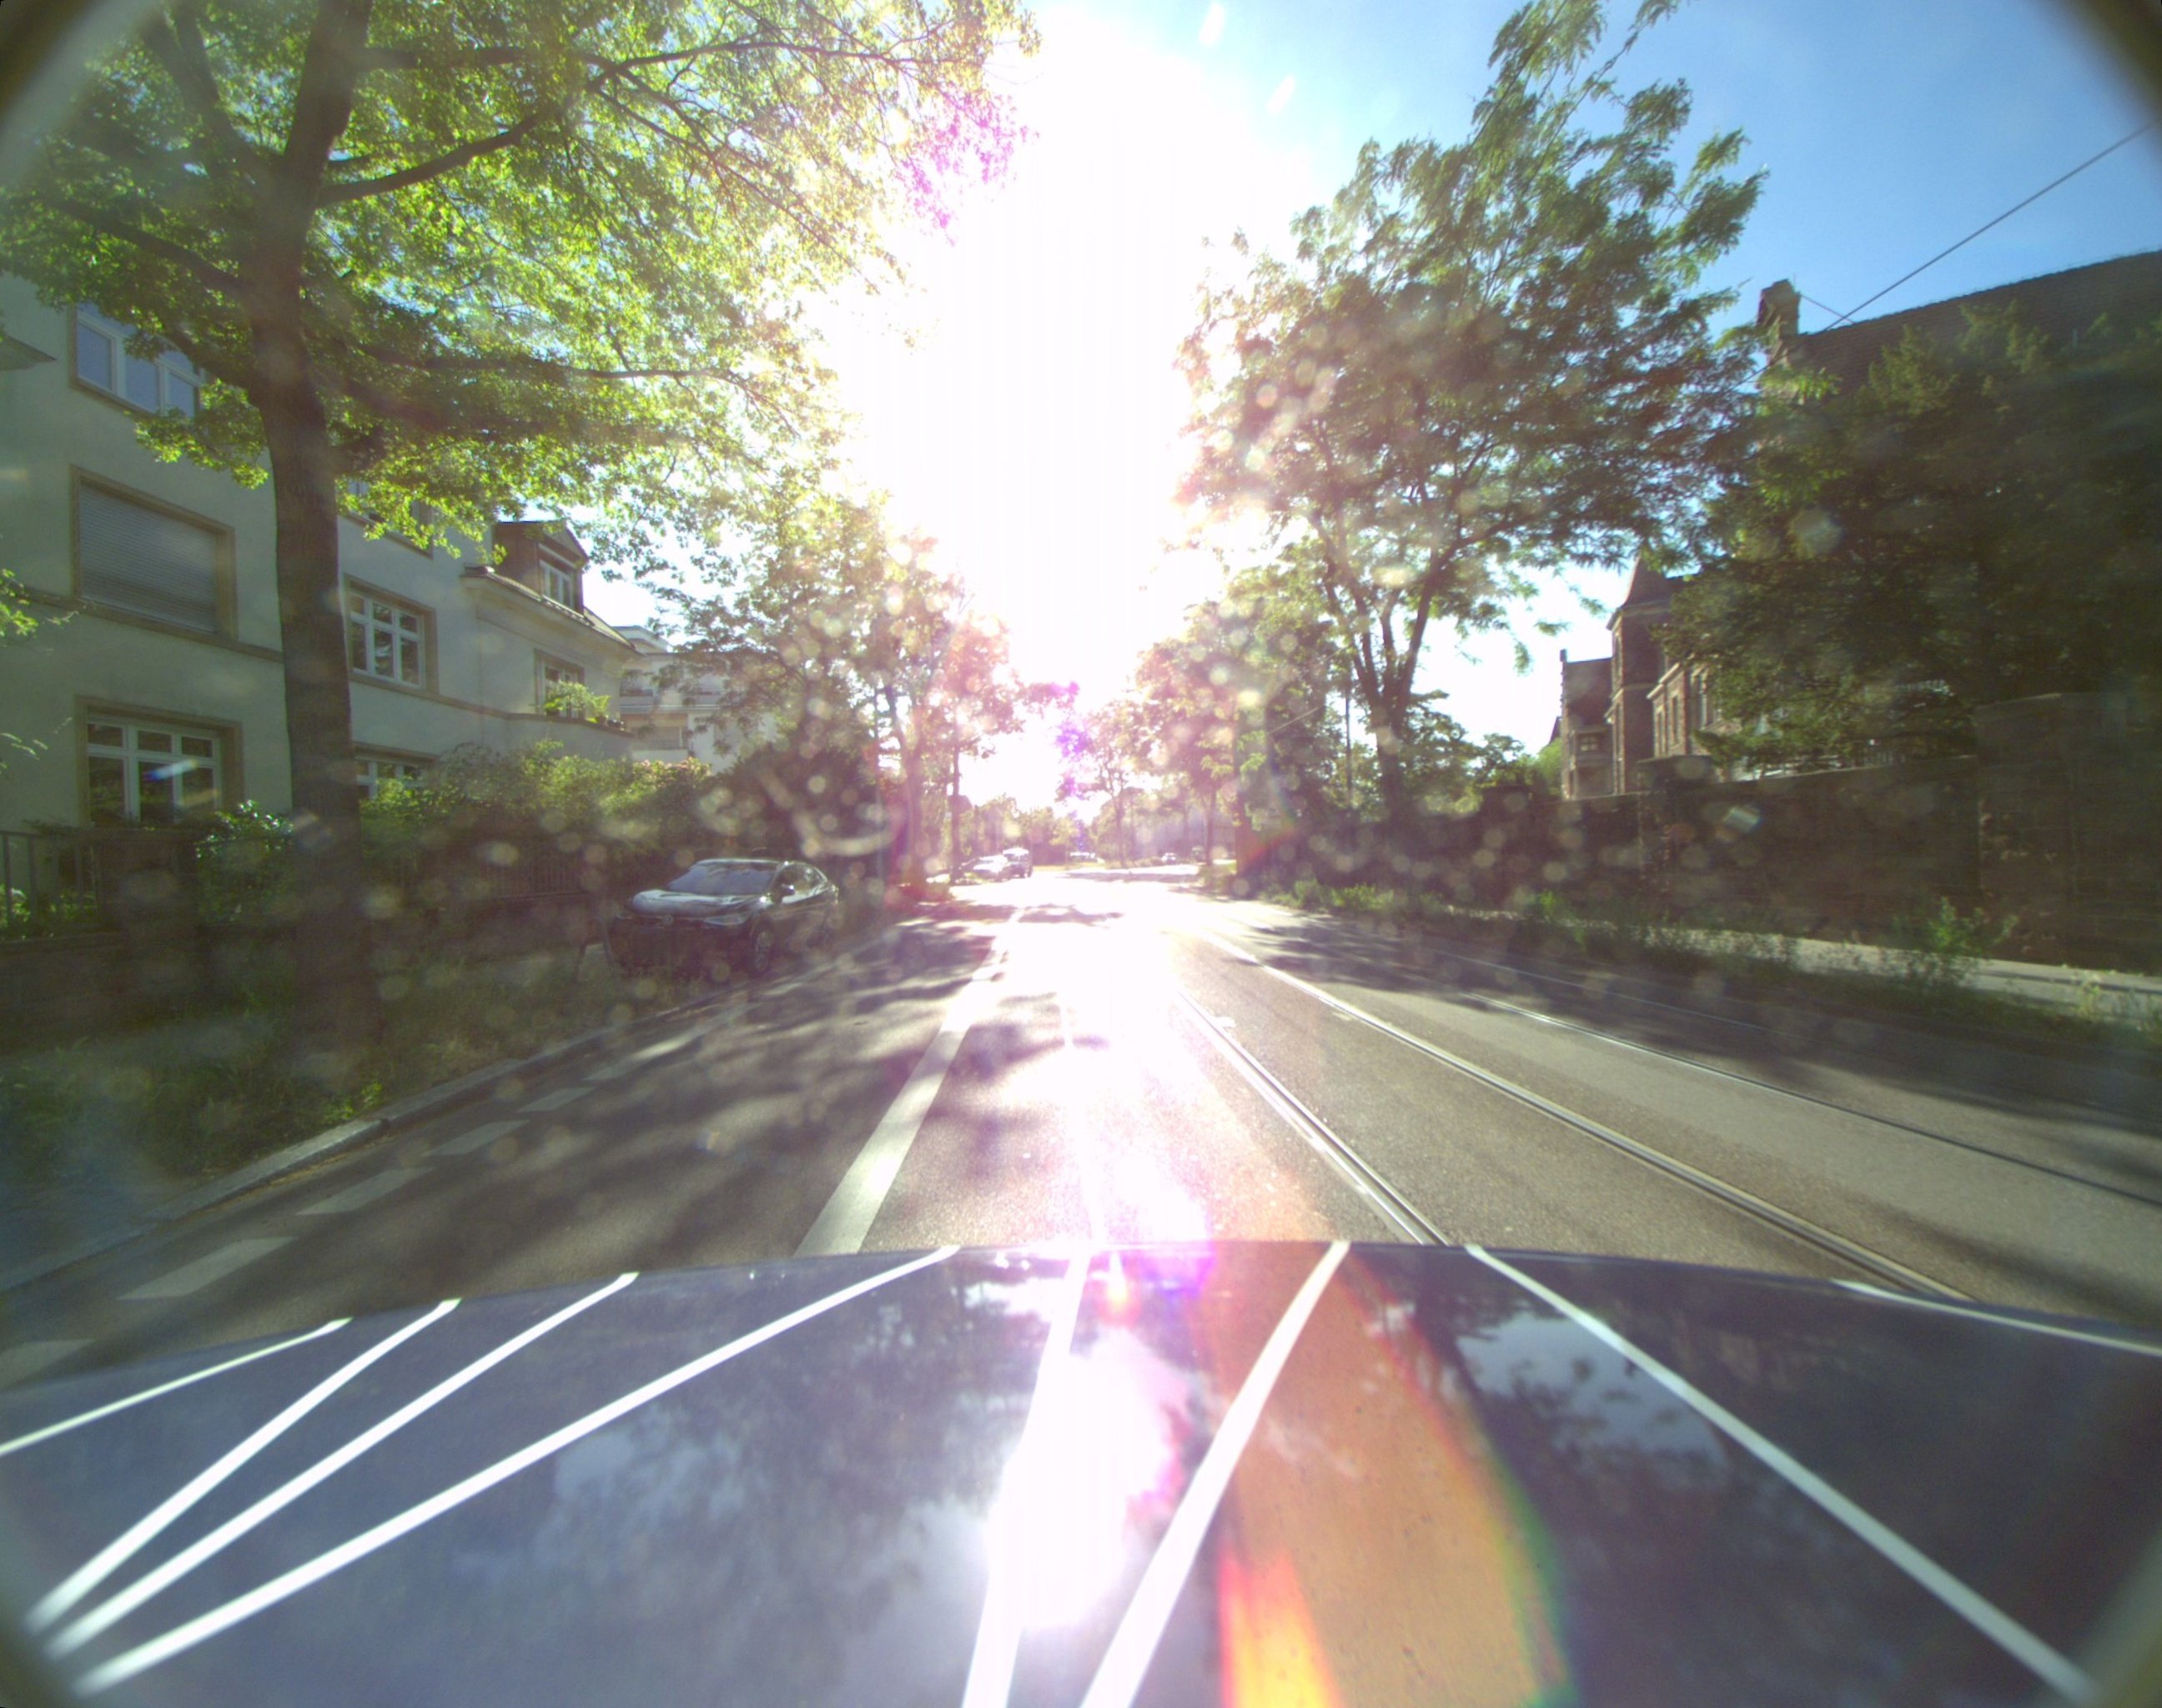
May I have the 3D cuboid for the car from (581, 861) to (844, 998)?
[{"bbox_3d":[-5.204,0.952,11.506,1.919,1.590,4.258,2,0,-1],"label":"car"}]

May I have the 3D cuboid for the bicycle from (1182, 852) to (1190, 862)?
[{"bbox_3d":[12.916,0.381,93.780,0.588,1.105,1.857,-1,0,19],"label":"bicycle"}]

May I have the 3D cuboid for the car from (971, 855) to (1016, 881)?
[{"bbox_3d":[-5.173,0.801,45.332,1.901,1.402,4.260,-1,0,4],"label":"car"}]

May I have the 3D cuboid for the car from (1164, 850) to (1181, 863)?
[{"bbox_3d":[11.903,0.325,98.721,1.997,1.539,4.002,-2,0,8],"label":"car"}]

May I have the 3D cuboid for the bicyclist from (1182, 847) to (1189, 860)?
[{"bbox_3d":[12.912,-0.087,93.780,0.643,1.632,0.666,-2,1,19],"label":"bicyclist"}]

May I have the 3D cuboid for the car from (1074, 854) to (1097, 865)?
[{"bbox_3d":[0.739,0.930,128.788,3.908,1.683,1.905,-2,0,-1],"label":"car"}]

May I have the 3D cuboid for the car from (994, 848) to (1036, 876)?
[{"bbox_3d":[-4.411,0.513,51.688,1.900,1.775,4.670,-1,0,6],"label":"car"}]

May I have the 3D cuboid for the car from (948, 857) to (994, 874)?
[{"bbox_3d":[-10.052,1.055,69.537,3.998,1.433,1.813,-2,0,-3],"label":"car"}]
